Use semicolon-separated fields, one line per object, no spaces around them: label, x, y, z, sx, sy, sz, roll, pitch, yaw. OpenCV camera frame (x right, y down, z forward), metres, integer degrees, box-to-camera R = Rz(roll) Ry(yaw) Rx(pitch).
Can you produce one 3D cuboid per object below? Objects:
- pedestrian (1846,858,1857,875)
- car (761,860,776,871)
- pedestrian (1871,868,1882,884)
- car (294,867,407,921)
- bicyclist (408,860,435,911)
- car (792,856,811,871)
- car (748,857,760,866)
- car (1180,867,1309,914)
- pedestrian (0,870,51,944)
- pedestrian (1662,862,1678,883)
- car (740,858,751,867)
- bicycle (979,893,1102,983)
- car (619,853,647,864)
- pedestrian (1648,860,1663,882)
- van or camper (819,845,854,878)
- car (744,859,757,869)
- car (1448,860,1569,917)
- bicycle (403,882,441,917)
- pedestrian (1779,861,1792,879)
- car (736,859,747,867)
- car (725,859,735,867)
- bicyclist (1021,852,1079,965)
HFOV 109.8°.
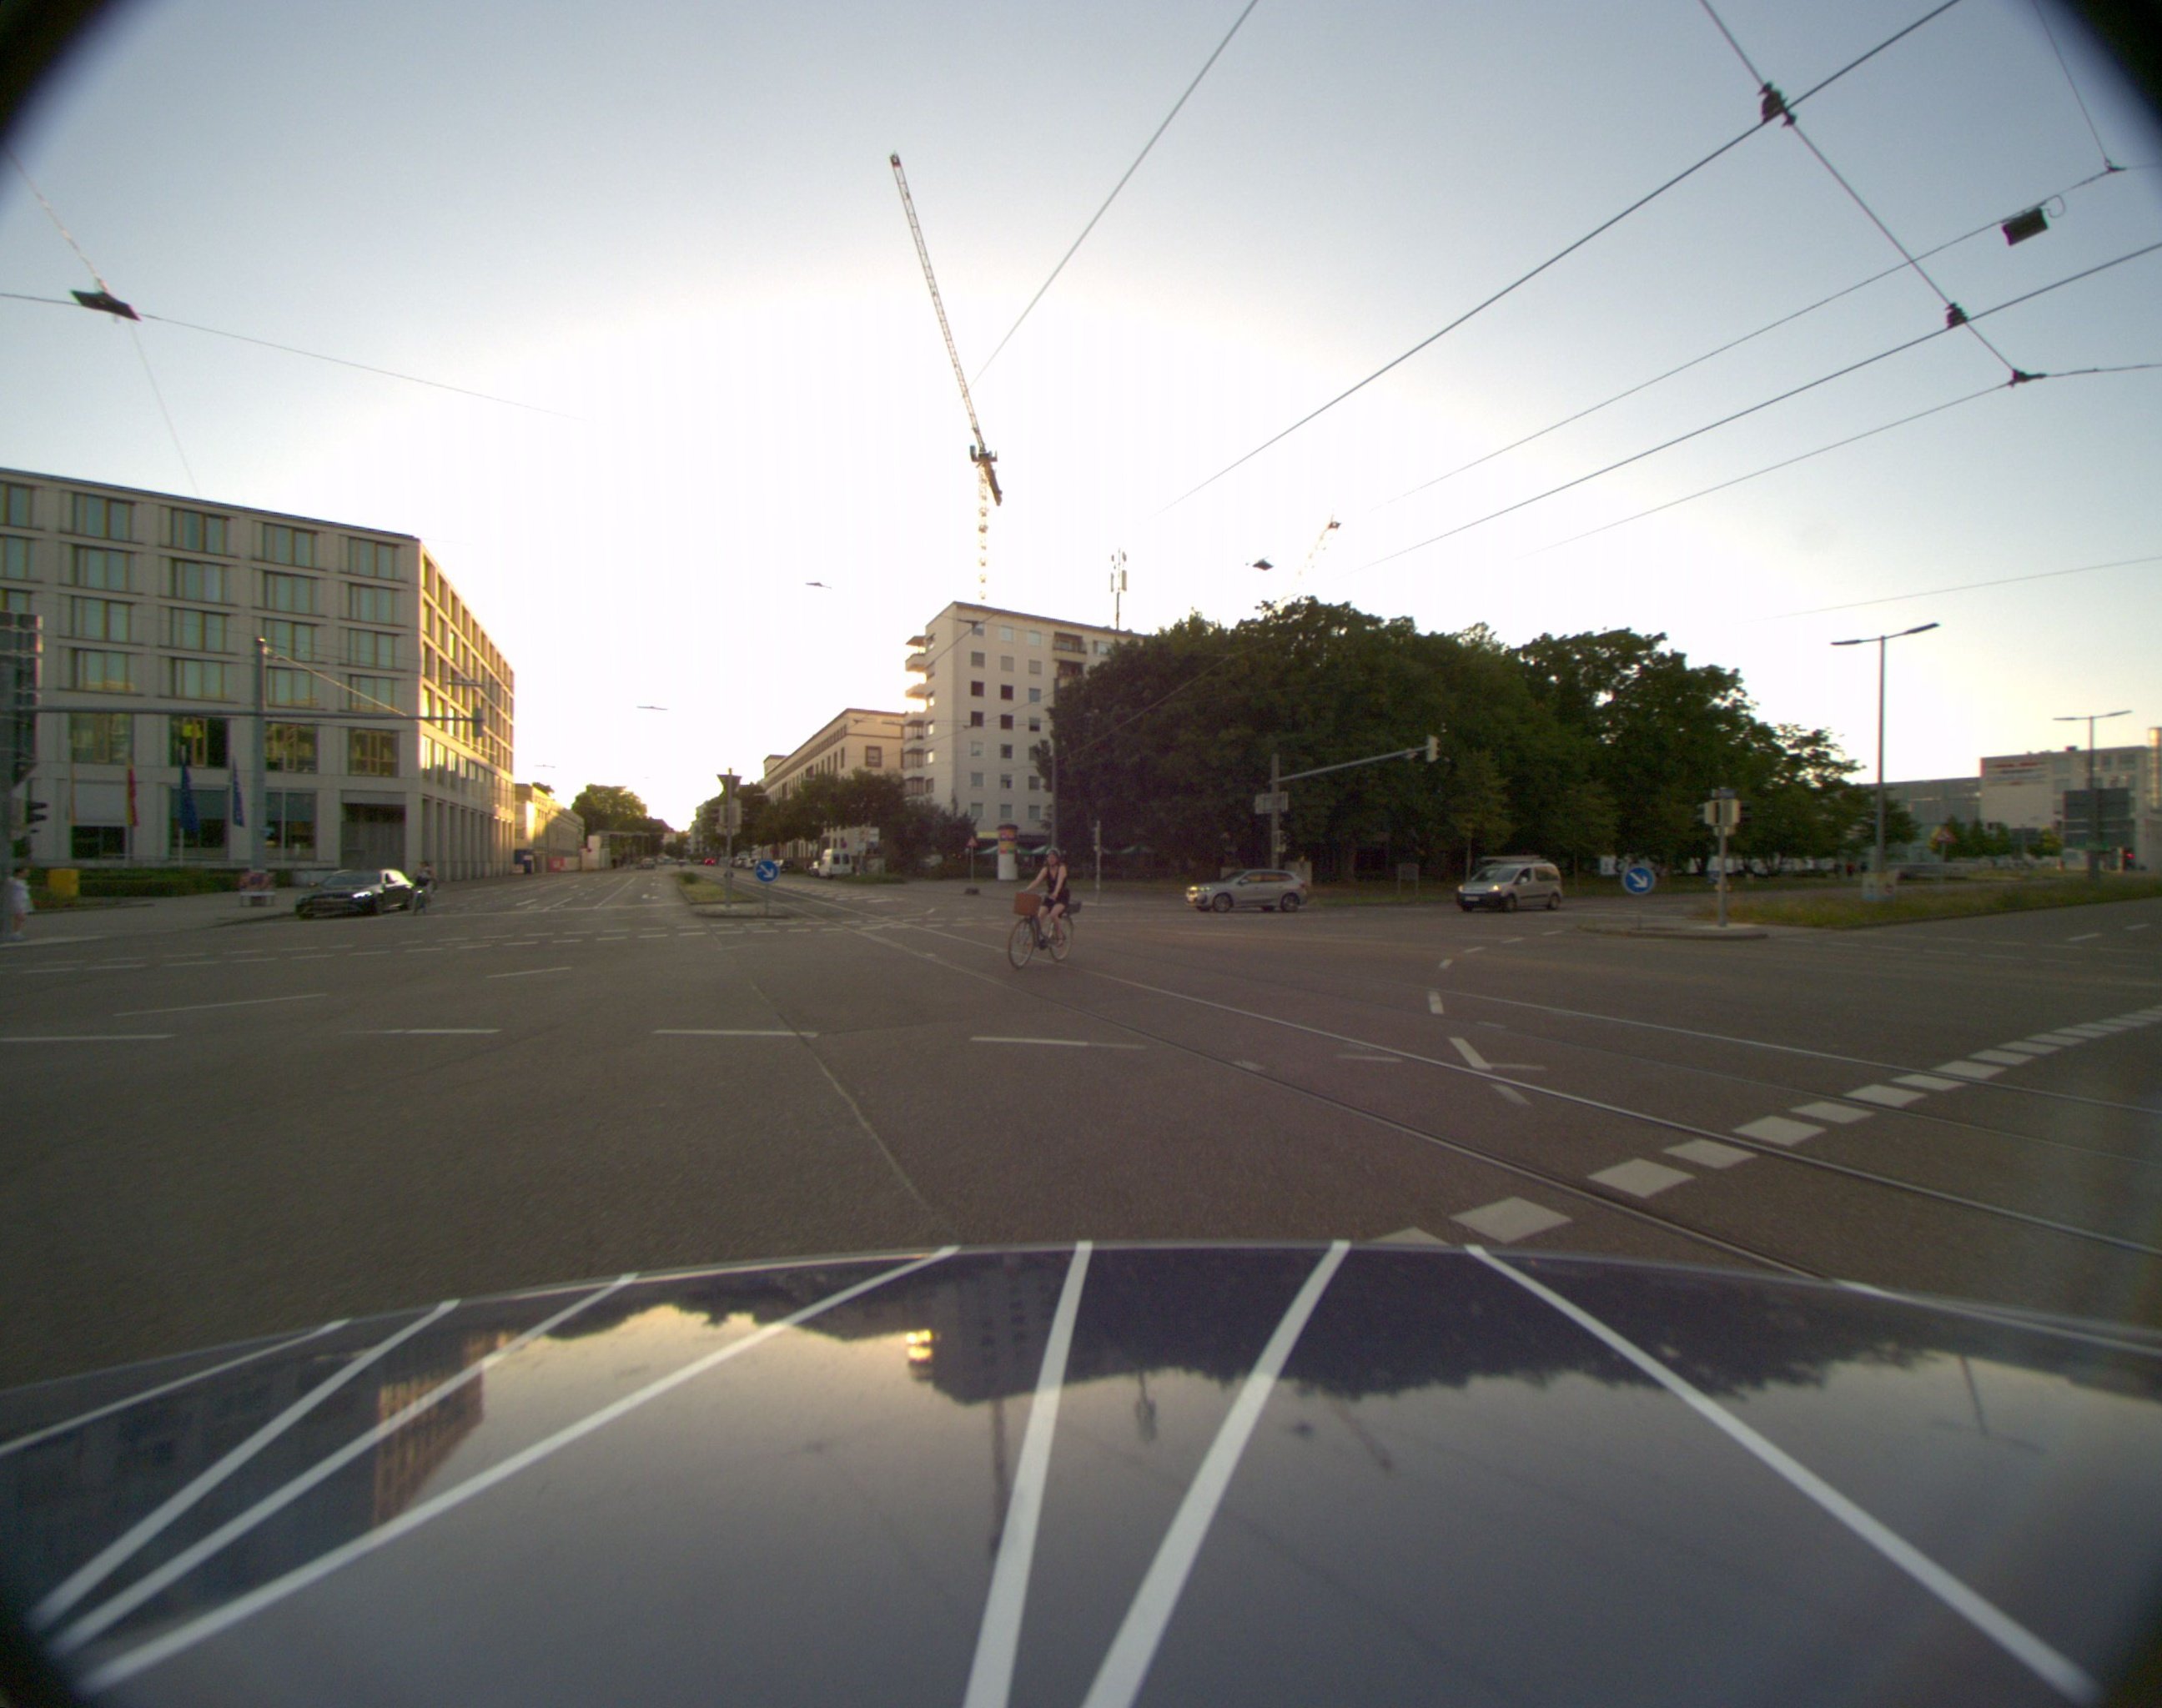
pedestrian;72.774;1.175;71.729;0.647;1.656;0.630;0;2;-42
car;-42.954;1.589;104.337;1.726;1.422;3.801;0;0;-26
pedestrian;73.382;2.035;70.100;0.647;1.387;0.630;1;1;-42
car;-24.101;1.255;25.265;1.820;1.514;4.798;-2;1;-33
bicyclist;-21.163;1.000;24.400;0.542;1.626;0.595;0;0;-29
car;-31.651;1.060;86.081;1.726;1.694;3.801;0;0;-25
car;-52.104;1.170;120.955;1.726;1.478;3.801;0;0;-25
car;6.070;1.307;28.334;4.349;1.654;1.884;0;0;-17
pedestrian;-23.789;1.178;17.022;0.628;1.616;0.537;0;0;-12
pedestrian;42.806;1.320;55.209;0.647;1.487;0.676;0;0;-28
car;-59.020;1.543;133.759;1.726;1.478;3.801;0;0;-25
bicycle;-0.536;1.172;11.183;0.608;1.108;2.091;0;0;37
car;-69.799;0.693;118.440;3.816;1.639;1.859;0;0;-29
pedestrian;42.323;1.264;55.969;0.678;1.585;0.645;-1;0;-26
van or camper;-20.722;0.639;64.234;2.115;2.666;4.699;0;0;-27
car;-52.681;1.580;121.016;1.726;1.422;3.801;0;0;-26
car;15.515;1.174;27.524;4.473;1.900;1.801;0;0;-31
bicycle;-21.184;1.449;24.458;0.541;1.045;1.757;0;0;-29
pedestrian;59.838;1.344;64.508;0.647;1.454;0.630;0;0;-27
car;-62.096;1.679;138.917;1.726;1.422;3.801;0;0;-26
car;-69.787;1.777;151.208;1.726;1.422;3.801;0;0;-26
bicyclist;-0.459;0.783;11.279;0.608;1.626;0.598;0;0;36
